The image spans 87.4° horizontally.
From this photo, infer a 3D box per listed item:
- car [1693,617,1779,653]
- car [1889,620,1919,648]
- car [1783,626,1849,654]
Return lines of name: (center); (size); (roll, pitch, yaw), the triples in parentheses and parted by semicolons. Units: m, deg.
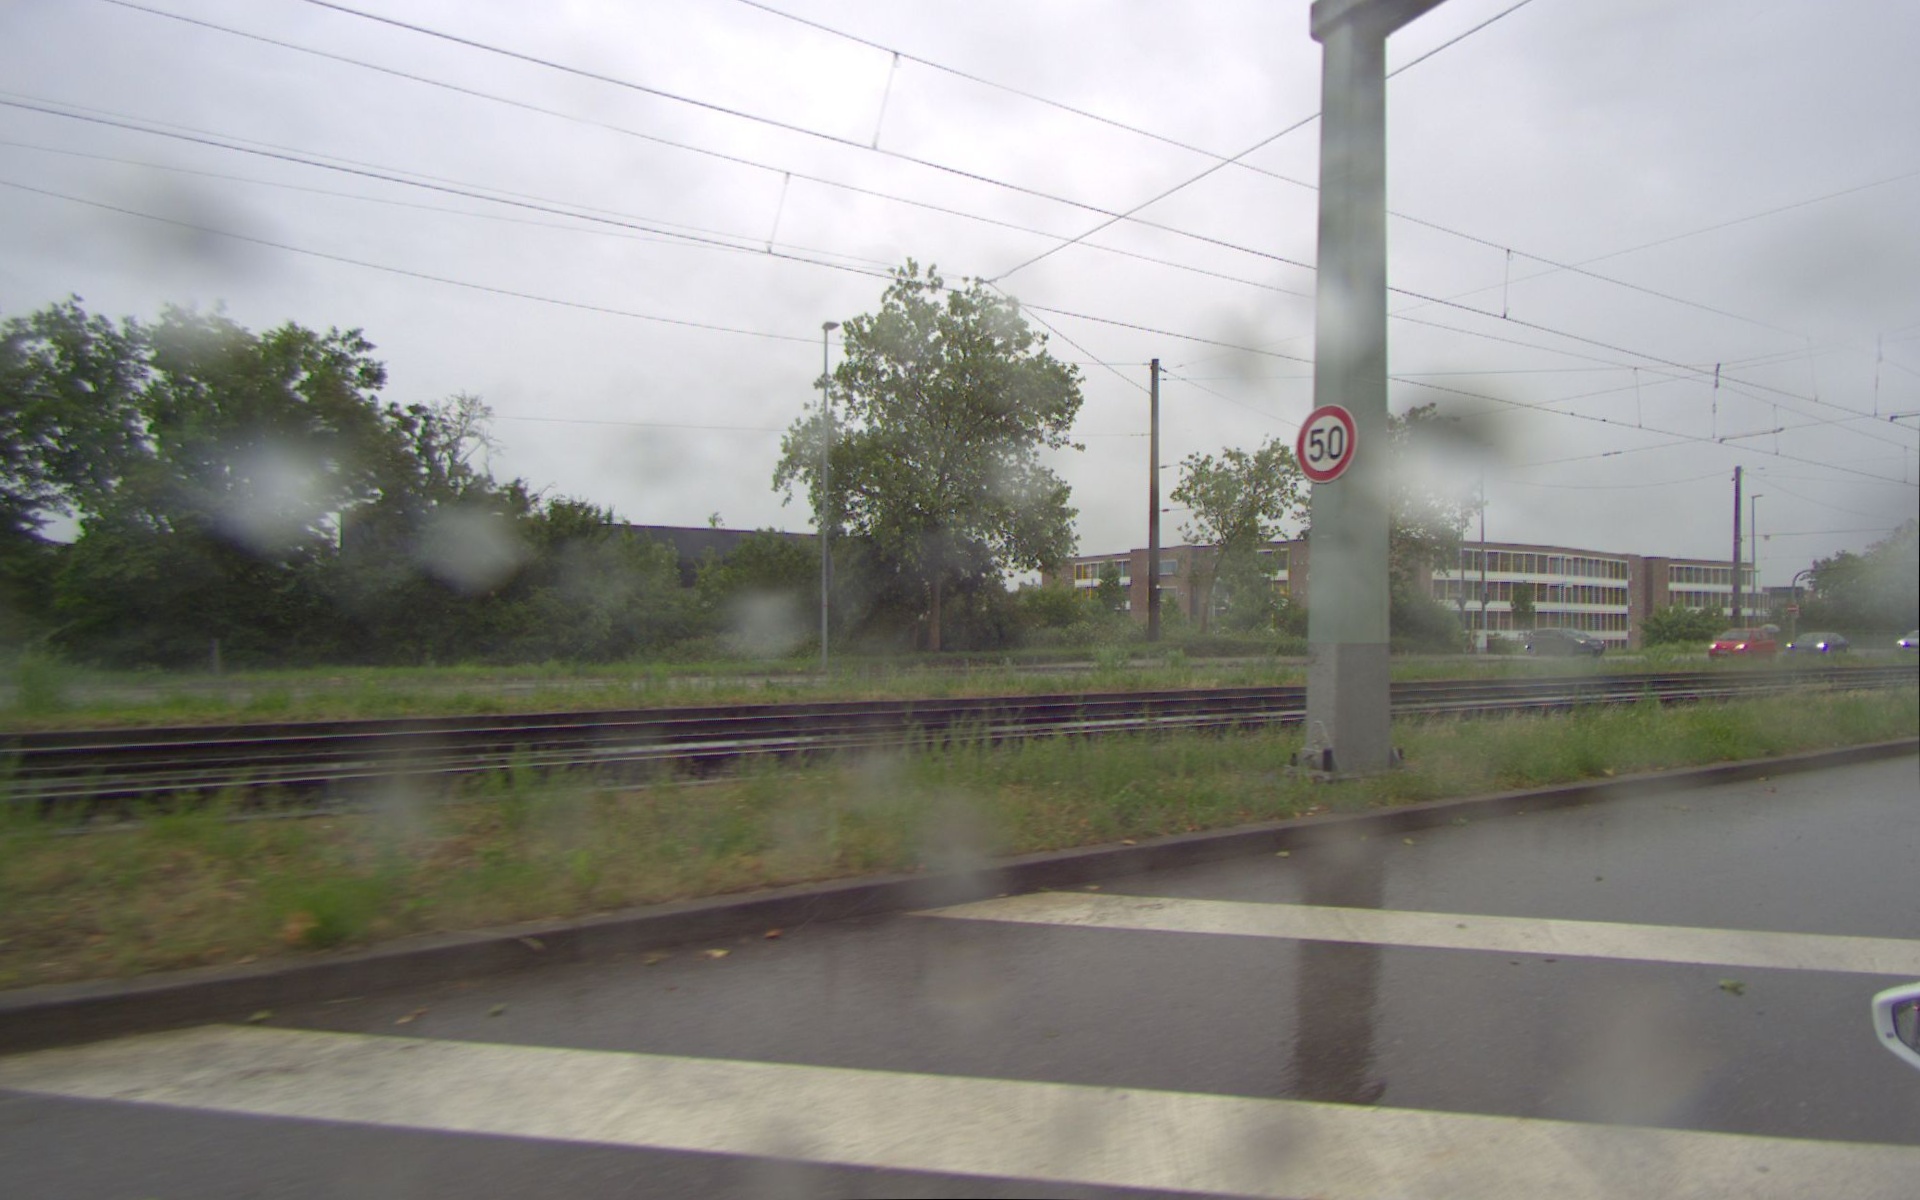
car: (34.595, 1.548, 44.770); (3.954, 1.514, 1.712); (1, -1, -31)
car: (54.055, 1.923, 56.419); (3.954, 1.514, 1.712); (1, -1, -31)
car: (48.373, 2.247, 56.762); (3.954, 1.514, 1.712); (1, -1, -31)
